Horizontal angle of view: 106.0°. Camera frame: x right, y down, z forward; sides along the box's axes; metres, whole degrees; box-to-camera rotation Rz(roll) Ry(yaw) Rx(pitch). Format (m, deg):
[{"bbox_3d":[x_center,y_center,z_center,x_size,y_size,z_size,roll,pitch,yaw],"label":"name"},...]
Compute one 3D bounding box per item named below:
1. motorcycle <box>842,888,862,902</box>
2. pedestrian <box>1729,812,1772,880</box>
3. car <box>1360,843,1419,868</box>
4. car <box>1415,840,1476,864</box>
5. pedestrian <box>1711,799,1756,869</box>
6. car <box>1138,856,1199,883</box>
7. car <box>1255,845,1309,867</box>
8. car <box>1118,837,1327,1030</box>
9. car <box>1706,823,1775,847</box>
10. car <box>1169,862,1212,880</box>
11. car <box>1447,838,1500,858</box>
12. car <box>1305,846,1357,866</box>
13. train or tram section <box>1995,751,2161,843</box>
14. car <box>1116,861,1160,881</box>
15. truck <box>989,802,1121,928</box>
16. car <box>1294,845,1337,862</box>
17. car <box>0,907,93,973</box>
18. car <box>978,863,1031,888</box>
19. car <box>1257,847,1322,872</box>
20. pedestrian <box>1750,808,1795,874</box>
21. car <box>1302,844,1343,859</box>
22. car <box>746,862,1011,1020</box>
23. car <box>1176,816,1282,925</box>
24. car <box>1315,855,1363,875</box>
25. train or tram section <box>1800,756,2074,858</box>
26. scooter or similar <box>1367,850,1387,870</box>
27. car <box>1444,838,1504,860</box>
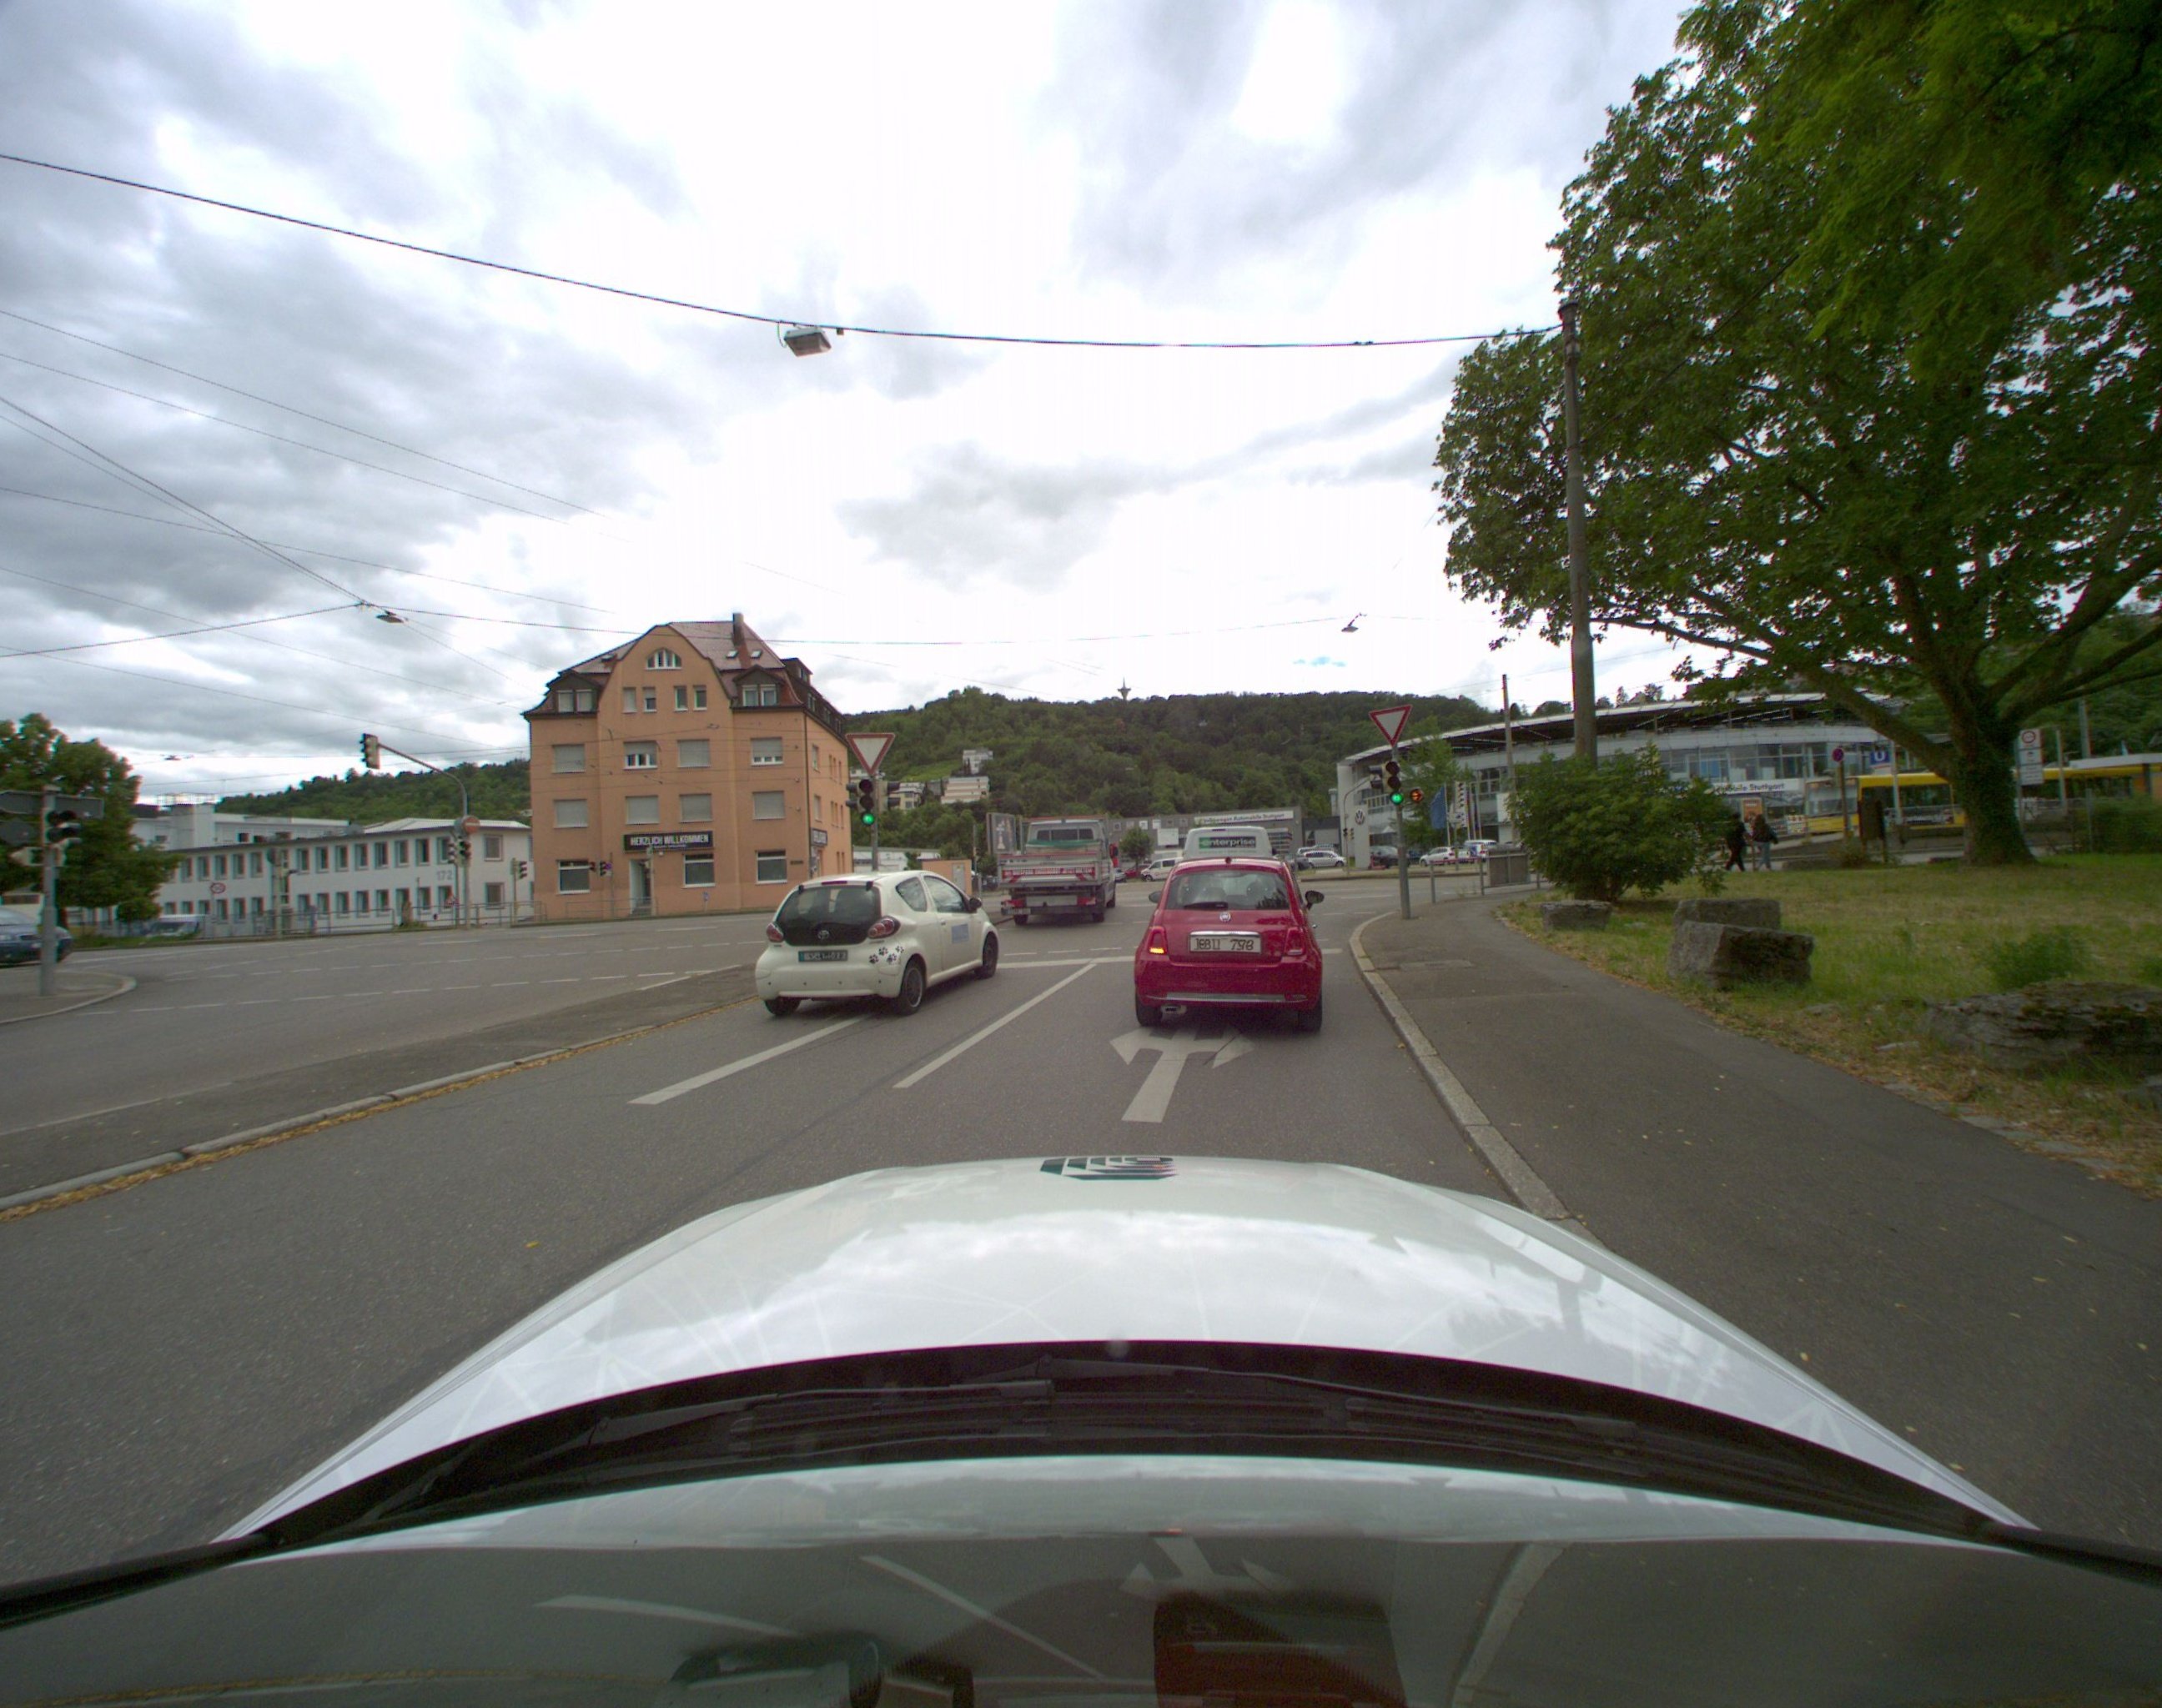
[{"bbox_3d":[-17.205,3.082,61.171,1.687,0.984,0.532,-1,-2,38],"label":"motorcycle"},{"bbox_3d":[18.590,-0.215,22.618,0.669,1.868,0.602,1,-2,-9],"label":"pedestrian"},{"bbox_3d":[22.163,0.127,58.633,1.997,1.640,3.980,-2,-1,-14],"label":"car"},{"bbox_3d":[26.516,-0.098,59.389,1.996,1.640,3.980,1,-2,-14],"label":"car"},{"bbox_3d":[17.869,-0.547,22.310,0.669,1.867,0.602,-2,-2,-9],"label":"pedestrian"},{"bbox_3d":[7.840,1.399,72.846,4.962,2.014,2.009,-4,-3,17],"label":"car"},{"bbox_3d":[15.991,0.189,64.914,3.969,1.706,2.002,0,-2,3],"label":"car"},{"bbox_3d":[1.697,0.639,8.598,1.684,1.525,4.017,0,0,16],"label":"car"},{"bbox_3d":[51.079,-1.445,63.134,1.918,1.554,3.991,1,-2,-6],"label":"car"},{"bbox_3d":[10.815,1.697,80.519,3.957,1.794,1.861,0,-2,15],"label":"car"},{"bbox_3d":[34.809,-0.510,72.362,1.929,1.554,3.969,1,-2,-23],"label":"car"},{"bbox_3d":[22.934,0.173,74.866,4.466,1.729,2.006,0,-2,12],"label":"car"},{"bbox_3d":[51.923,-2.933,40.499,11.877,3.966,2.739,-4,-1,-11],"label":"train or tram section"},{"bbox_3d":[6.094,1.814,86.686,4.465,1.997,2.006,0,-2,12],"label":"car"},{"bbox_3d":[-0.397,0.173,19.220,2.302,2.421,5.663,-3,1,5],"label":"truck"},{"bbox_3d":[25.831,-0.053,89.851,4.466,1.729,2.006,0,-2,12],"label":"car"},{"bbox_3d":[-26.389,2.111,19.328,3.678,1.392,1.750,-3,-1,1],"label":"car"},{"bbox_3d":[-7.024,2.022,75.096,4.511,2.243,1.986,1,-2,-21],"label":"car"},{"bbox_3d":[14.389,0.371,56.145,3.950,1.639,2.012,0,3,26],"label":"car"},{"bbox_3d":[18.141,-0.321,21.374,0.669,1.690,0.602,1,-2,-9],"label":"pedestrian"},{"bbox_3d":[27.807,-0.284,93.884,4.466,1.729,2.006,0,-2,12],"label":"car"},{"bbox_3d":[-2.148,0.882,9.618,1.582,1.420,3.385,-5,-1,13],"label":"car"},{"bbox_3d":[3.235,0.271,17.850,1.986,2.040,4.846,0,1,10],"label":"car"},{"bbox_3d":[26.070,1.124,82.354,4.465,1.997,2.006,0,-2,12],"label":"car"},{"bbox_3d":[40.207,-2.213,38.291,11.877,3.966,2.739,-4,-1,-11],"label":"train or tram section"},{"bbox_3d":[20.247,0.410,55.742,1.193,1.288,0.577,0,-2,8],"label":"scooter or similar"},{"bbox_3d":[28.834,-0.360,59.893,1.811,1.477,3.980,1,-2,-14],"label":"car"}]
